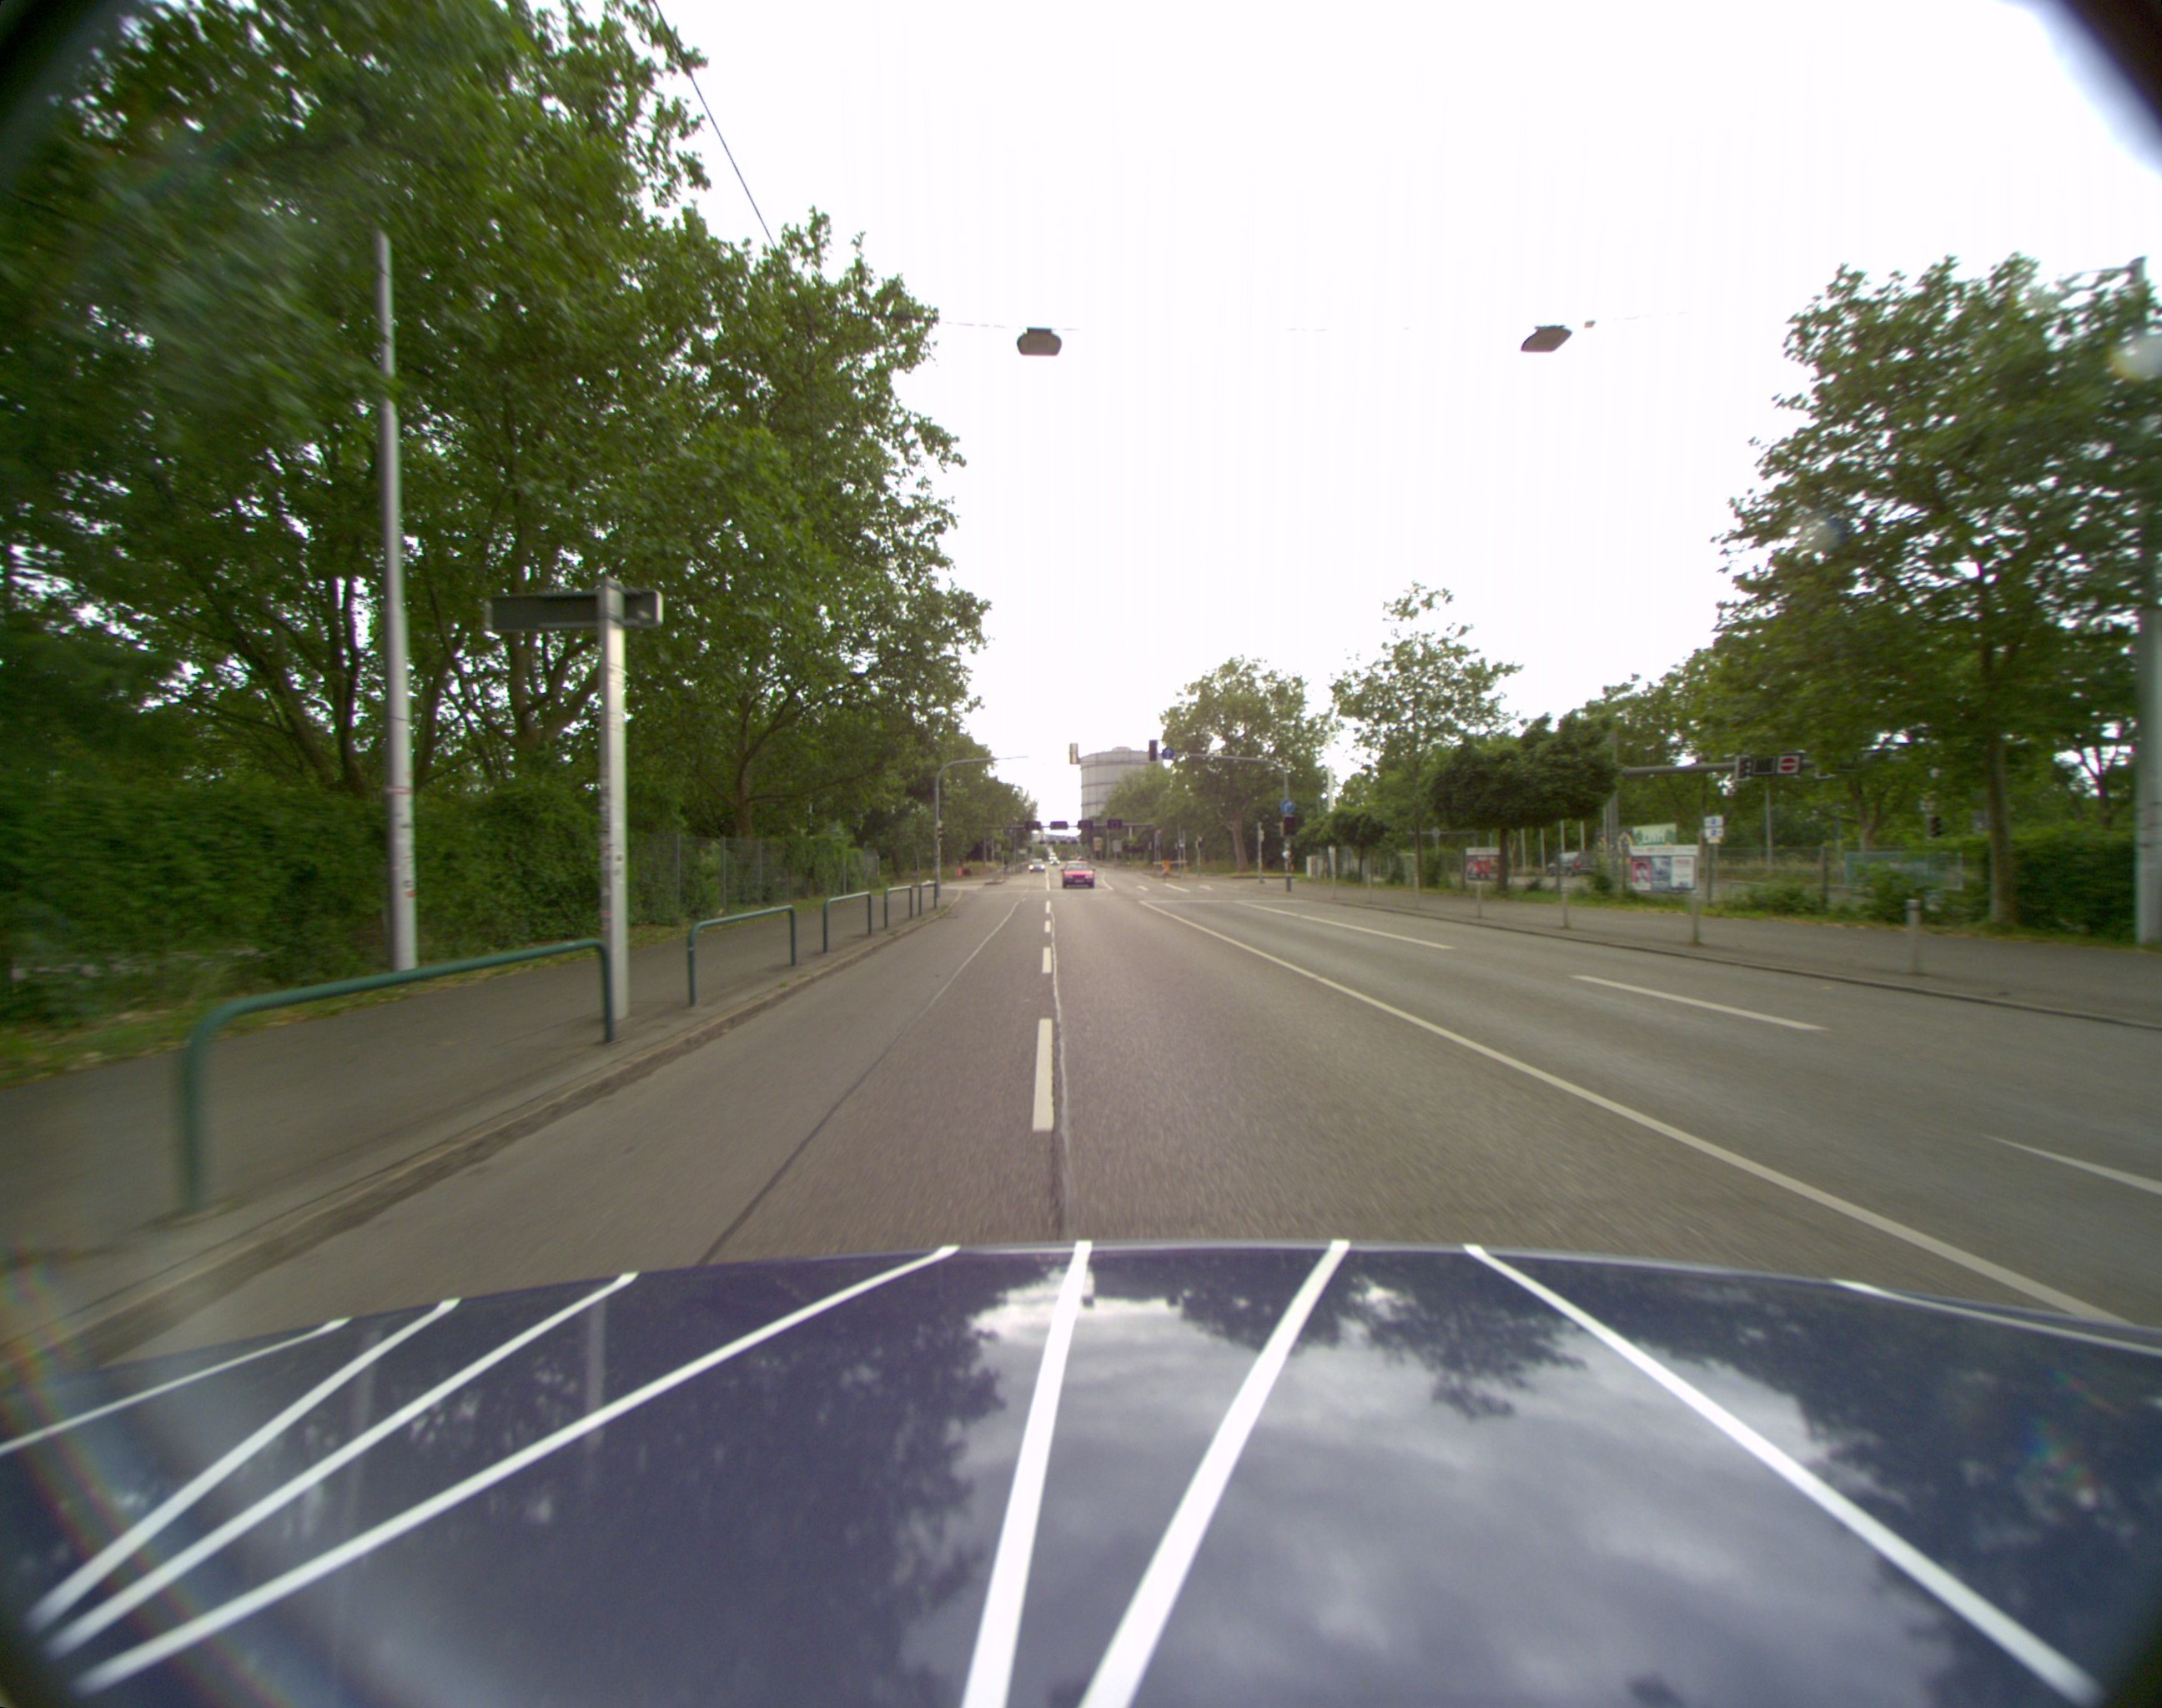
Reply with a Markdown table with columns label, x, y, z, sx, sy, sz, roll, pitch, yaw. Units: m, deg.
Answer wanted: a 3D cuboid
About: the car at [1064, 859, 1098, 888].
| label | x | y | z | sx | sy | sz | roll | pitch | yaw |
| --- | --- | --- | --- | --- | --- | --- | --- | --- | --- |
| car | -0.041 | 1.057 | 41.347 | 1.696 | 1.434 | 4.000 | 1 | -1 | -2 |
